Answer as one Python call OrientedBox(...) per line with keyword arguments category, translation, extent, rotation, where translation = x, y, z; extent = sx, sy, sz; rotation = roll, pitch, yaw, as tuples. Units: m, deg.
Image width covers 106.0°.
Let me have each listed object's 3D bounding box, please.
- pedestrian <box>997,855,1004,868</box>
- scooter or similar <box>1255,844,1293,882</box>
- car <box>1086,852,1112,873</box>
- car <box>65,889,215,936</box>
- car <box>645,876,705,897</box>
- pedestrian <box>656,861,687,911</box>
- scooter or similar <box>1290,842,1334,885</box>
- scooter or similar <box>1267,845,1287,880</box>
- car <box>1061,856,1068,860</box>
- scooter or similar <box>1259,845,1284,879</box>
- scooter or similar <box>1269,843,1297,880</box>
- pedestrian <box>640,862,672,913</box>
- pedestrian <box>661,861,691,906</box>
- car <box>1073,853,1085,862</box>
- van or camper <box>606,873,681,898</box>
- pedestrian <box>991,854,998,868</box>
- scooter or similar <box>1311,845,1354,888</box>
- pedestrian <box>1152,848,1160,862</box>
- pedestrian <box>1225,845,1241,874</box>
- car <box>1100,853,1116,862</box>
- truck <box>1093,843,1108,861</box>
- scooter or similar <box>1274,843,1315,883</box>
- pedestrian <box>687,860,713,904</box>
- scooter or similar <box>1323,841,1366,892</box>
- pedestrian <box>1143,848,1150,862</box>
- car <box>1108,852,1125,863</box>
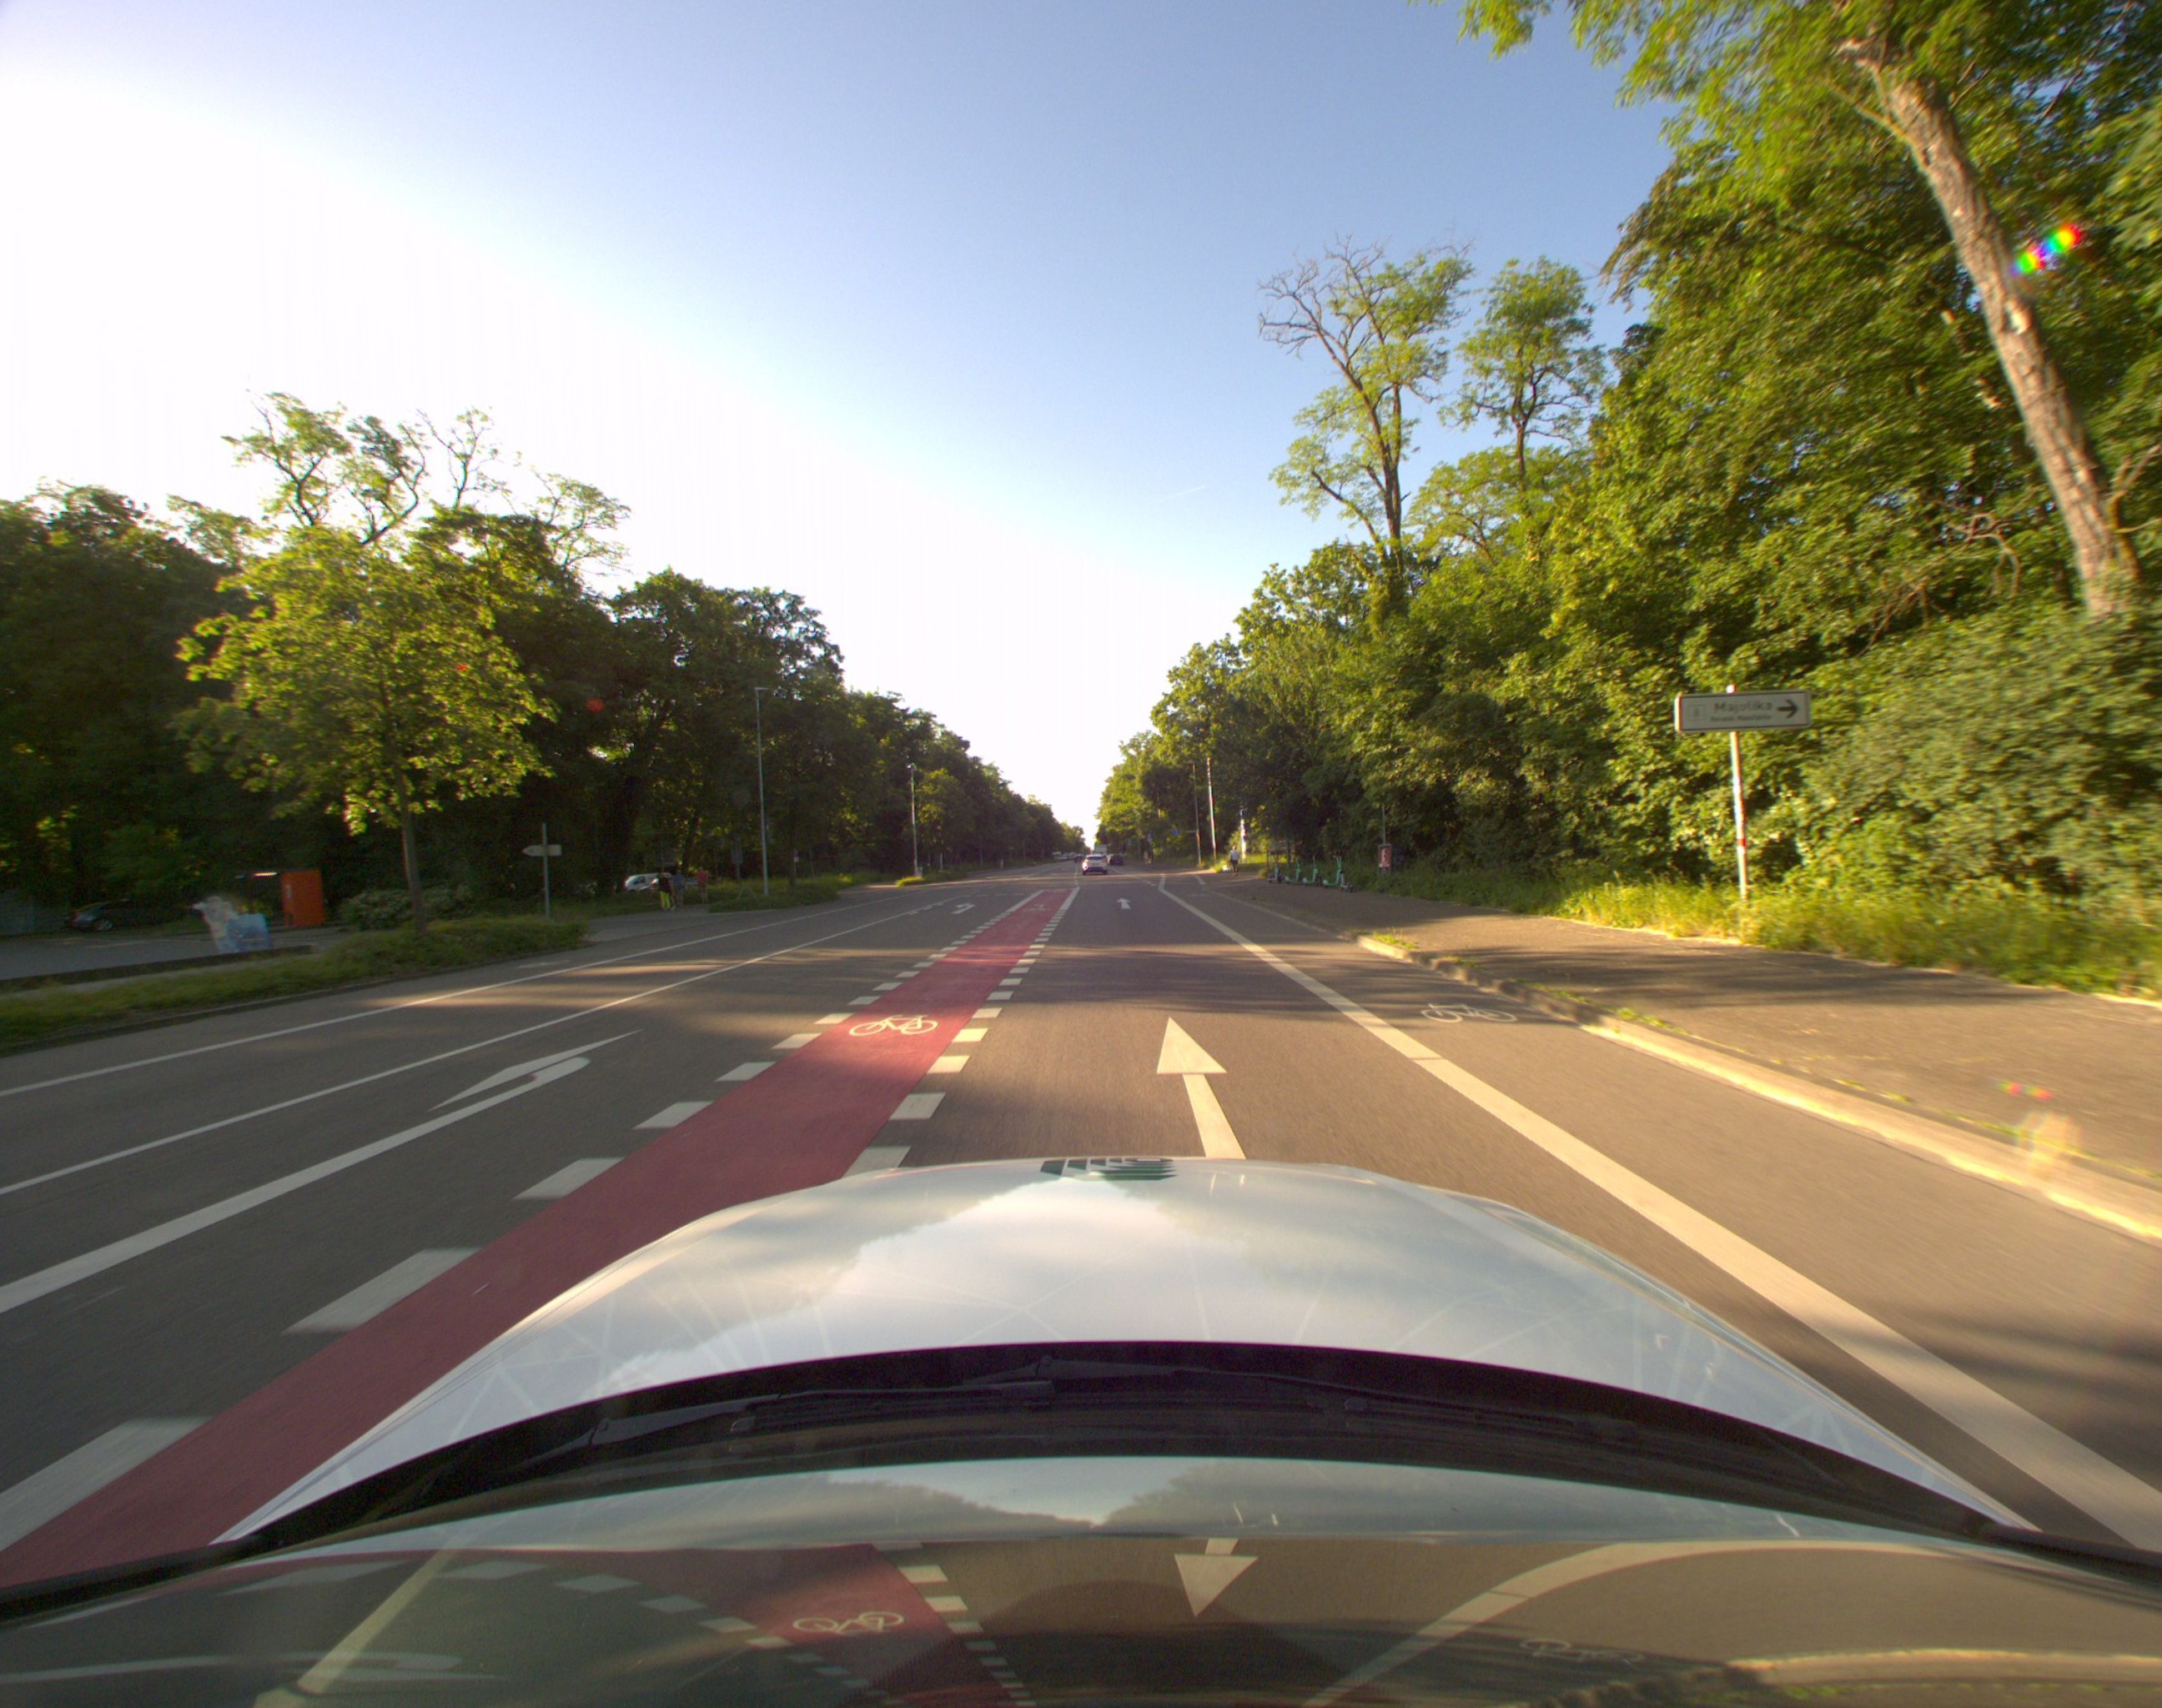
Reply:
OrientedBox(category="pedestrian", translation=(-12.697, 1.211, 127.888), extent=(0.827, 2.013, 1.270), rotation=(-3, 0, 3))
OrientedBox(category="scooter or similar", translation=(7.493, 0.346, 31.709), extent=(0.683, 1.423, 1.673), rotation=(-3, 0, -14))
OrientedBox(category="car", translation=(1.333, 0.613, 61.068), extent=(1.757, 1.459, 3.815), rotation=(-1, 0, -2))
OrientedBox(category="car", translation=(-44.379, 2.735, 38.508), extent=(1.974, 1.820, 4.299), rotation=(-3, 0, 31))
OrientedBox(category="car", translation=(-33.966, 2.696, 68.210), extent=(1.974, 1.526, 4.026), rotation=(-3, 0, 35))
OrientedBox(category="pedestrian", translation=(-17.067, 1.320, 33.924), extent=(0.711, 2.013, 0.800), rotation=(-3, 0, 15))
OrientedBox(category="scooter or similar", translation=(7.911, 0.325, 27.948), extent=(0.682, 1.423, 1.674), rotation=(-3, 0, -12))
OrientedBox(category="scooter or similar", translation=(8.319, 0.331, 34.520), extent=(0.678, 1.423, 1.249), rotation=(-3, 0, 10))
OrientedBox(category="car", translation=(-5.160, 1.229, 253.033), extent=(1.987, 1.327, 3.999), rotation=(-3, 0, 0))
OrientedBox(category="scooter or similar", translation=(8.409, 0.332, 36.058), extent=(0.679, 1.423, 1.682), rotation=(-3, 0, 2))
OrientedBox(category="scooter or similar", translation=(8.171, 0.302, 33.009), extent=(0.679, 1.423, 1.682), rotation=(-3, 0, 2))
OrientedBox(category="pedestrian", translation=(-17.272, 1.367, 33.132), extent=(0.711, 2.013, 0.800), rotation=(-3, 0, 15))
OrientedBox(category="pedestrian", translation=(-18.615, 1.338, 37.425), extent=(0.710, 2.013, 0.880), rotation=(-3, 0, 32))
OrientedBox(category="car", translation=(-0.396, 0.629, 153.564), extent=(1.986, 1.519, 4.002), rotation=(-3, 0, 2))
OrientedBox(category="van or camper", translation=(-37.978, 2.725, 70.817), extent=(1.974, 2.014, 5.452), rotation=(-2, -3, 31))
OrientedBox(category="pedestrian", translation=(-13.596, 1.093, 127.935), extent=(0.860, 2.013, 1.270), rotation=(-3, 0, 3))
OrientedBox(category="scooter or similar", translation=(7.966, 0.388, 25.849), extent=(0.467, 1.306, 1.471), rotation=(-3, 0, -20))
OrientedBox(category="pedestrian", translation=(9.082, 0.091, 98.823), extent=(0.741, 1.599, 0.798), rotation=(-3, 0, 1))
OrientedBox(category="pedestrian", translation=(8.368, 0.296, 44.869), extent=(0.751, 1.563, 0.804), rotation=(-3, 0, 6))
OrientedBox(category="car", translation=(4.007, 0.499, 122.233), extent=(1.989, 1.327, 3.997), rotation=(-3, 0, -2))
OrientedBox(category="truck", translation=(3.923, -0.390, 166.015), extent=(2.790, 3.570, 8.033), rotation=(-2, 0, 0))
OrientedBox(category="scooter or similar", translation=(7.851, 0.327, 30.022), extent=(0.683, 1.423, 1.673), rotation=(-3, 0, -14))
OrientedBox(category="pedestrian", translation=(-17.881, 1.295, 38.239), extent=(0.710, 2.013, 0.752), rotation=(-3, 0, 32))
OrientedBox(category="scooter or similar", translation=(7.736, 0.342, 23.998), extent=(0.679, 1.423, 1.682), rotation=(-3, 0, 1))
OrientedBox(category="pedestrian", translation=(7.993, 0.144, 98.795), extent=(0.696, 1.653, 0.876), rotation=(-3, 0, 1))
OrientedBox(category="car", translation=(4.652, 0.480, 106.517), extent=(1.987, 1.327, 4.001), rotation=(-3, 0, 1))
